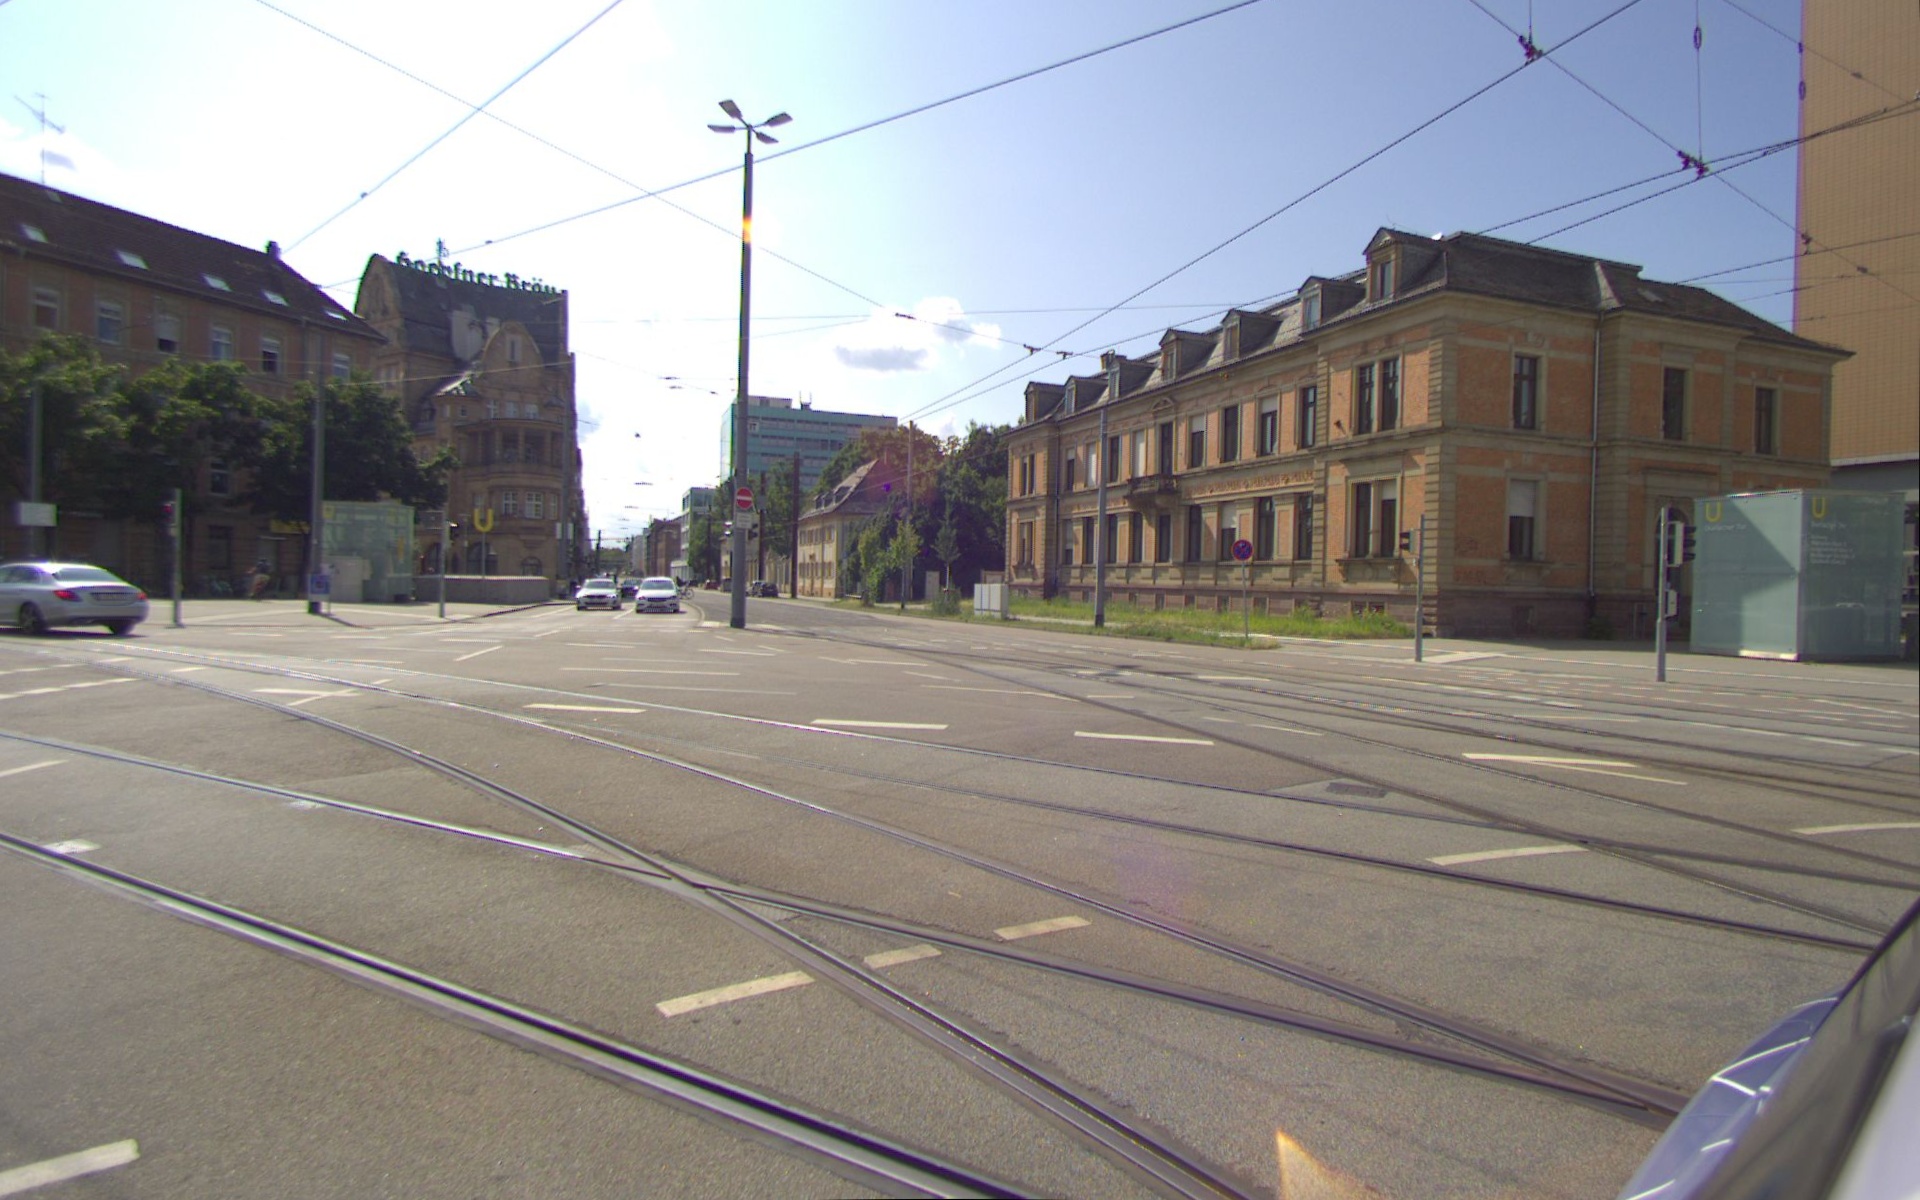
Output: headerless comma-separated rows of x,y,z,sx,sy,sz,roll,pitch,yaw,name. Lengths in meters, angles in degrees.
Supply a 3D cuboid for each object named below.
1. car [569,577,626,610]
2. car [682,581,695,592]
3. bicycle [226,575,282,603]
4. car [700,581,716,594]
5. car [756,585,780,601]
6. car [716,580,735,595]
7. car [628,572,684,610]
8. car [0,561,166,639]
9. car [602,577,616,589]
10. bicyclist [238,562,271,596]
-16.948,-0.330,47.462,2.003,1.448,4.549,-1,1,-13,car
-46.248,-2.255,172.207,1.958,1.838,4.009,1,1,-17,car
-26.180,-0.409,37.526,1.939,0.982,0.843,2,2,23,bicycle
-36.299,-1.851,145.496,1.958,1.838,4.009,1,1,-17,car
-18.451,-0.681,97.039,1.958,1.393,4.008,1,1,-14,car
-29.219,-1.610,126.112,1.958,1.838,4.009,1,1,-17,car
-12.912,-0.390,43.174,1.950,1.502,4.008,1,1,-12,car
-19.251,-0.061,21.107,4.694,1.473,1.926,2,1,17,car
-57.782,-2.811,166.694,1.958,1.839,4.008,1,0,-22,car
-26.156,-0.795,37.513,0.913,1.235,0.632,2,2,23,bicyclist
